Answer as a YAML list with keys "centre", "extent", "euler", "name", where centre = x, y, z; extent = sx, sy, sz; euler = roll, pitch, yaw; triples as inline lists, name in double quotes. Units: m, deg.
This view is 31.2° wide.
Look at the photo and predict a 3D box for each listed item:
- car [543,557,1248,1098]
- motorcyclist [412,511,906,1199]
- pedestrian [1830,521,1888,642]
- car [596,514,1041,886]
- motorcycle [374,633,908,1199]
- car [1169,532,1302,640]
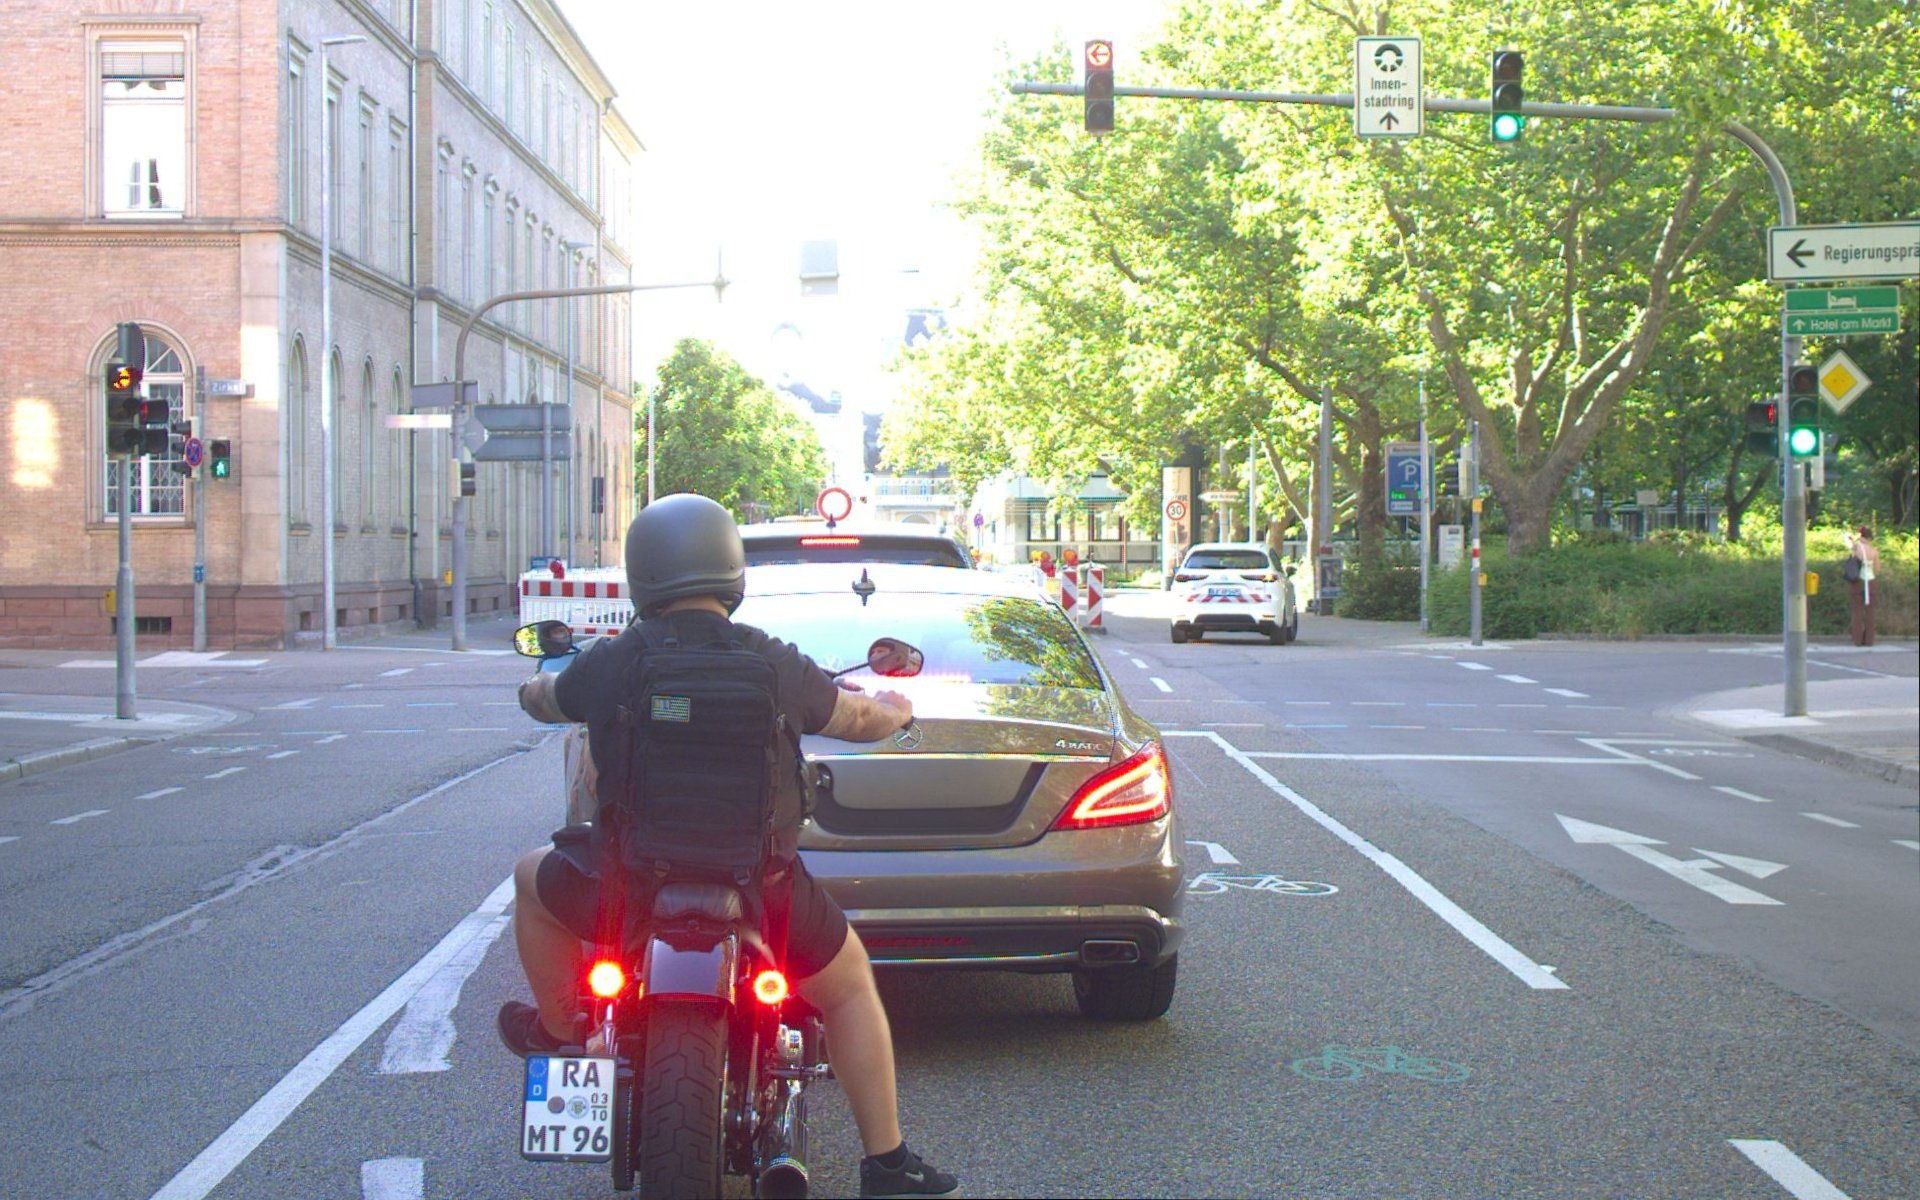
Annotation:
- centre: [-0.429, 0.590, 11.646]
  extent: [1.869, 1.439, 4.431]
  euler: [0, 1, -8]
  name: "car"
- centre: [-0.612, 0.597, 7.519]
  extent: [0.980, 1.573, 1.248]
  euler: [0, 1, -1]
  name: "motorcyclist"
- centre: [13.237, -0.278, 50.615]
  extent: [0.678, 1.766, 0.616]
  euler: [1, 0, 29]
  name: "pedestrian"
- centre: [-0.664, 0.432, 17.568]
  extent: [1.993, 1.660, 4.000]
  euler: [1, 1, -1]
  name: "car"
- centre: [-0.609, 0.742, 7.588]
  extent: [0.980, 1.271, 2.407]
  euler: [0, 1, -1]
  name: "motorcycle"
- centre: [4.717, -0.271, 58.360]
  extent: [1.943, 1.702, 4.482]
  euler: [1, 1, 8]
  name: "car"
